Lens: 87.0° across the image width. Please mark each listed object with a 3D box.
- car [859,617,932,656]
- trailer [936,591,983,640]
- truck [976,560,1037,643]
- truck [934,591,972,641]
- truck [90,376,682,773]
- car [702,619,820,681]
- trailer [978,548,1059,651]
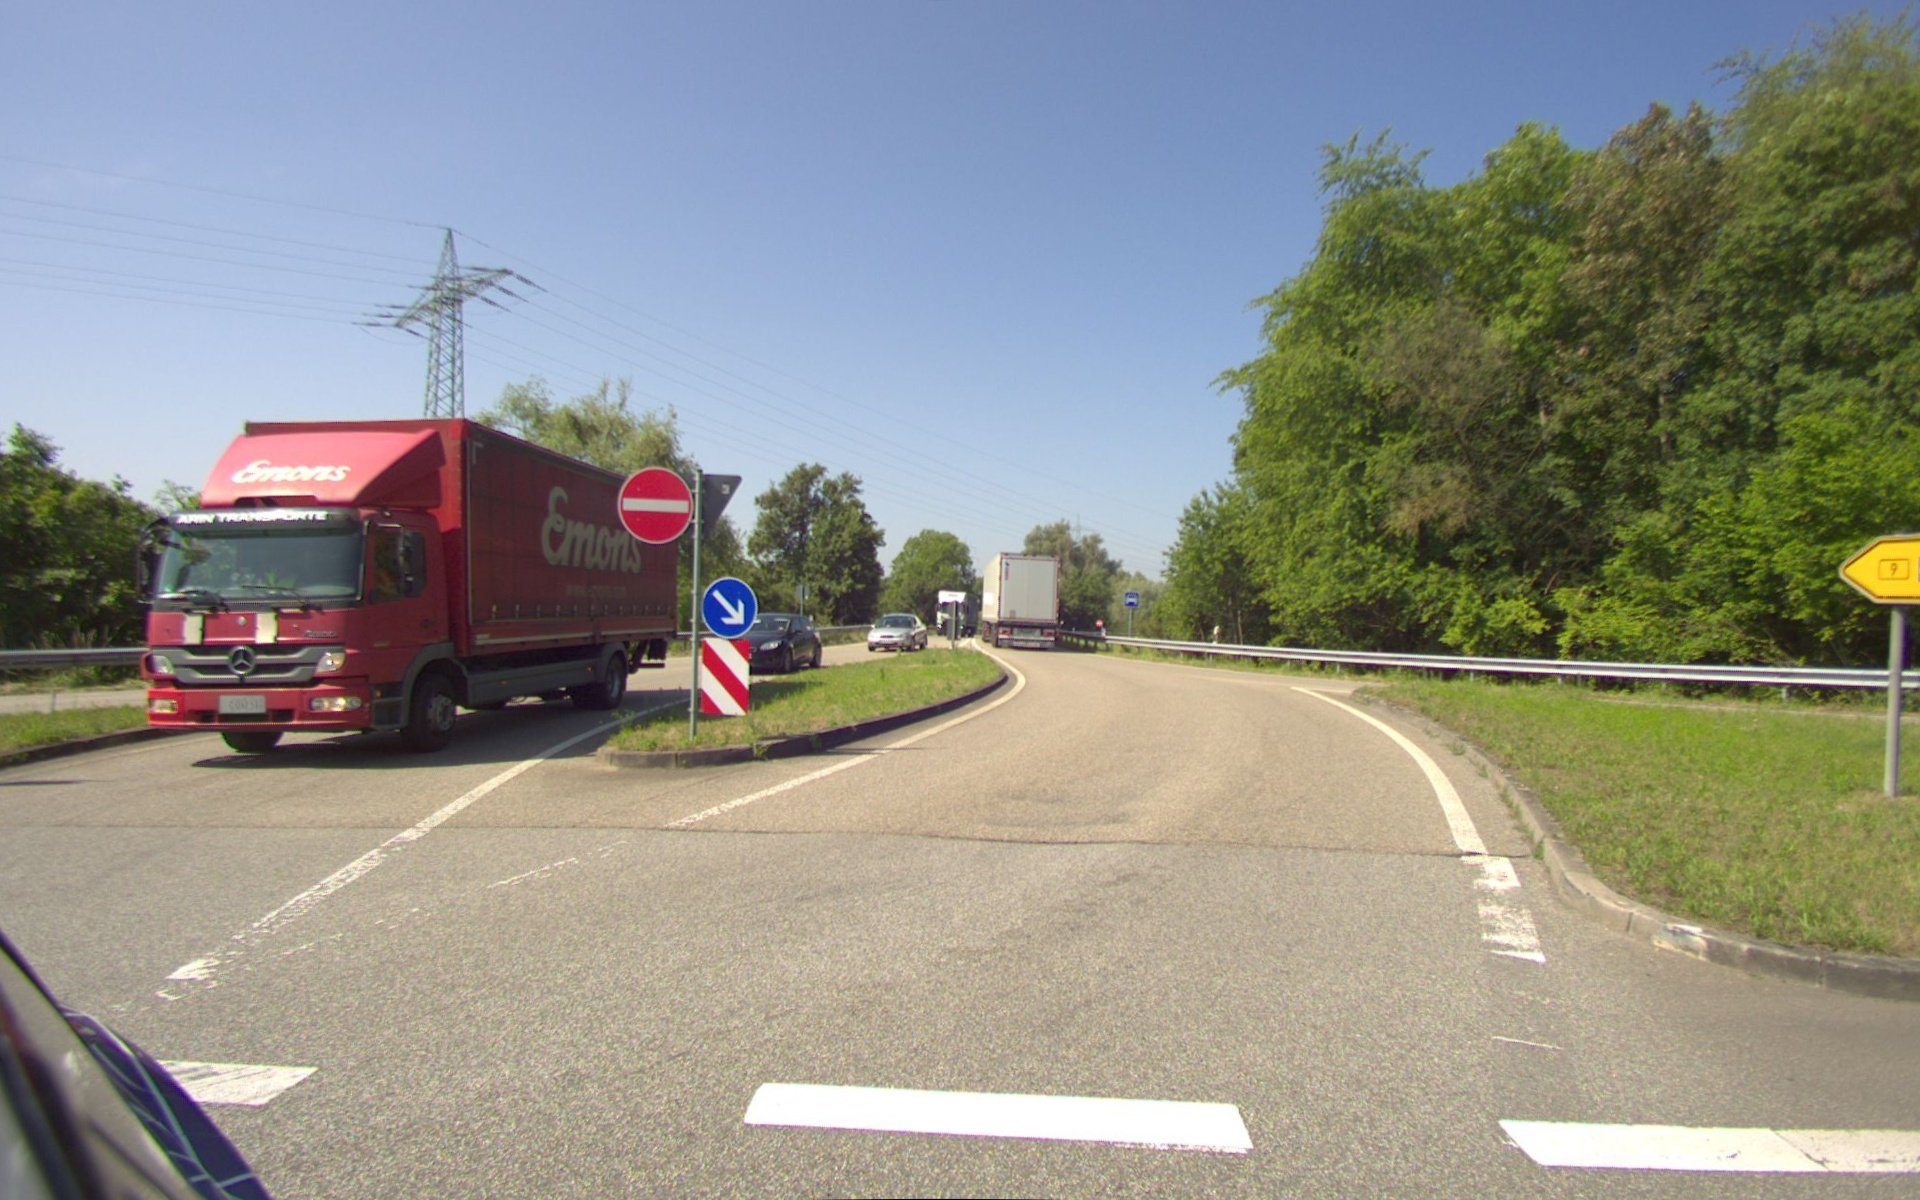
[{"bbox_3d":[-2.412,1.368,38.842,1.770,1.396,4.362,0,-1,11],"label":"car"},{"bbox_3d":[0.120,1.564,98.021,2.895,4.272,13.953,2,-1,6],"label":"trailer"},{"bbox_3d":[2.418,0.097,54.383,2.839,4.205,5.971,0,-1,-1],"label":"truck"},{"bbox_3d":[-0.543,1.423,91.629,2.903,4.270,5.726,2,-1,4],"label":"truck"},{"bbox_3d":[-6.662,-0.165,14.103,2.655,3.689,9.254,0,-1,2],"label":"truck"},{"bbox_3d":[-4.870,1.177,25.316,1.767,1.425,3.992,0,-1,7],"label":"car"},{"bbox_3d":[2.504,0.038,48.441,2.855,4.197,13.982,0,-1,-1],"label":"trailer"}]
